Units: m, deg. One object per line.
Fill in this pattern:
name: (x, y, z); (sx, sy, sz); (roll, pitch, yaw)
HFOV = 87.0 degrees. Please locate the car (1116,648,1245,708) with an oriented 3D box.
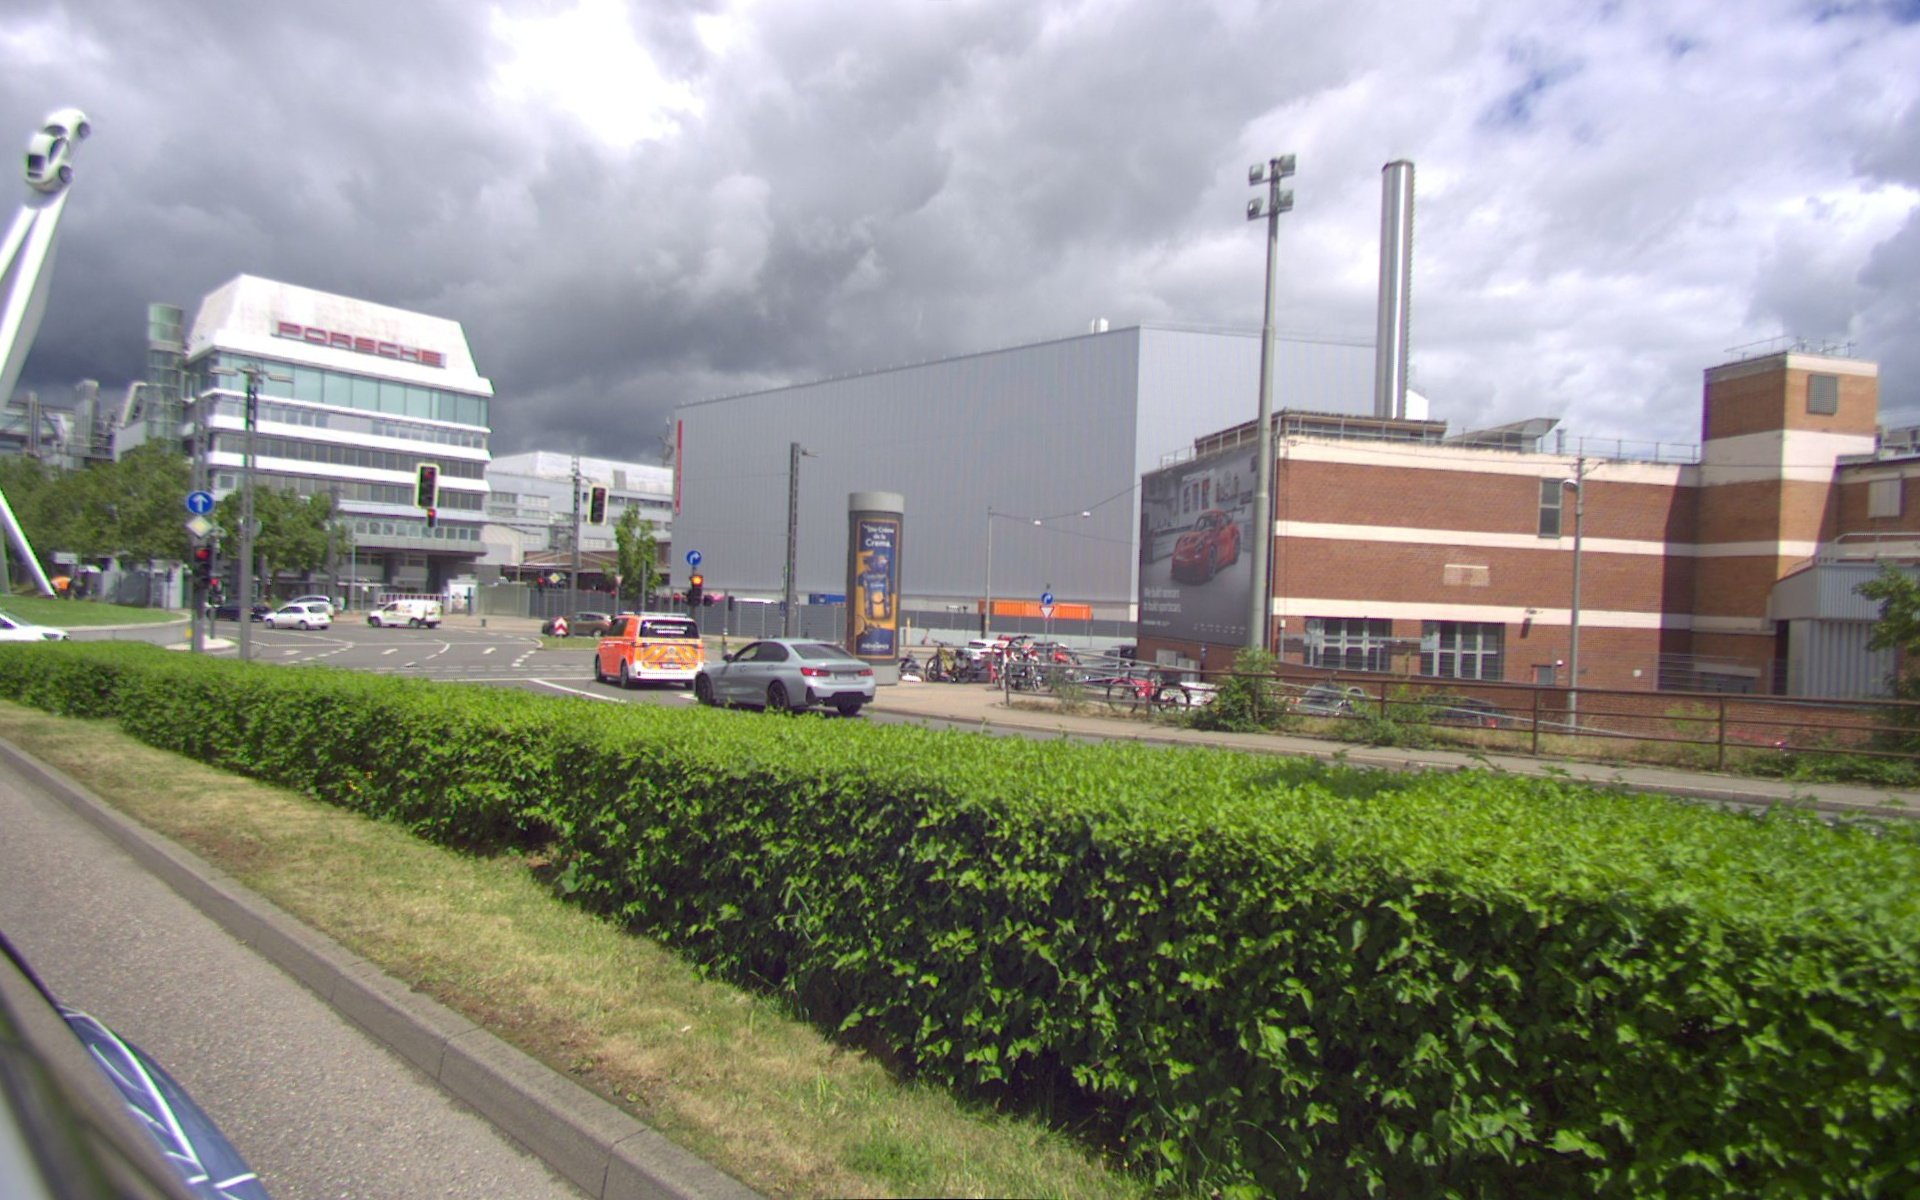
car: (7.473, 2.610, 34.348); (3.930, 1.875, 1.757); (1, -1, -22)

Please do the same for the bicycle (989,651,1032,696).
bicycle: (1.226, 1.739, 24.202); (0.616, 0.996, 1.939); (-1, -2, 16)

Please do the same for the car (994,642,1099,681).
car: (3.581, 2.527, 41.739); (3.930, 1.517, 1.757); (1, -1, -22)

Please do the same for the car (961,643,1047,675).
car: (2.102, 2.762, 47.855); (4.123, 1.380, 1.623); (2, -2, -42)

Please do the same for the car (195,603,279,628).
car: (-47.433, 1.028, 66.426); (4.191, 1.523, 1.935); (1, -1, 5)

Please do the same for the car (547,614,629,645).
car: (-21.449, 1.698, 58.494); (4.131, 1.708, 1.956); (1, -1, -6)

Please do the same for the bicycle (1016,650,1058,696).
bicycle: (1.828, 1.704, 23.863); (0.616, 0.996, 1.939); (-1, -2, 16)

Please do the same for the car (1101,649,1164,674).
car: (9.317, 3.296, 54.435); (3.564, 1.251, 1.470); (2, -2, -42)

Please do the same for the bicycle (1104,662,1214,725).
bicycle: (3.450, 1.612, 17.735); (0.513, 0.996, 1.951); (2, -3, -44)

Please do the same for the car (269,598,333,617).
car: (-51.860, 0.590, 79.724); (3.891, 1.388, 1.633); (1, -1, -15)

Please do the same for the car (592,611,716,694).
car: (-8.173, 1.296, 26.759); (1.966, 1.973, 4.641); (1, -1, -32)

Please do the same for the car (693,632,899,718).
car: (-3.331, 1.400, 19.905); (1.774, 1.433, 4.497); (4, -3, -43)

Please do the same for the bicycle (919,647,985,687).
bicycle: (-0.227, 1.755, 26.736); (1.950, 0.996, 0.513); (-2, -3, 44)

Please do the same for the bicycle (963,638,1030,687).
bicycle: (1.056, 1.777, 29.067); (1.926, 1.355, 0.713); (2, -2, -38)

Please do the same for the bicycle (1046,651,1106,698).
bicycle: (2.697, 1.696, 23.305); (0.619, 0.996, 1.929); (-1, -2, 31)

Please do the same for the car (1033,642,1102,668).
car: (5.459, 2.748, 51.028); (3.564, 1.251, 1.470); (2, -2, -42)

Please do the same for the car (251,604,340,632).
car: (-39.942, 1.080, 60.893); (4.192, 1.591, 1.996); (1, -1, 6)

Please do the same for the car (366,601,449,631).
car: (-35.479, 1.012, 65.058); (4.350, 1.843, 1.995); (1, -1, 8)

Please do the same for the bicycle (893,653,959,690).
bicycle: (-1.070, 2.237, 31.937); (2.024, 1.121, 0.674); (2, -2, -35)

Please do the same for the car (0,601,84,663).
car: (-29.465, 0.932, 30.093); (4.783, 1.837, 2.006); (1, -1, -27)
